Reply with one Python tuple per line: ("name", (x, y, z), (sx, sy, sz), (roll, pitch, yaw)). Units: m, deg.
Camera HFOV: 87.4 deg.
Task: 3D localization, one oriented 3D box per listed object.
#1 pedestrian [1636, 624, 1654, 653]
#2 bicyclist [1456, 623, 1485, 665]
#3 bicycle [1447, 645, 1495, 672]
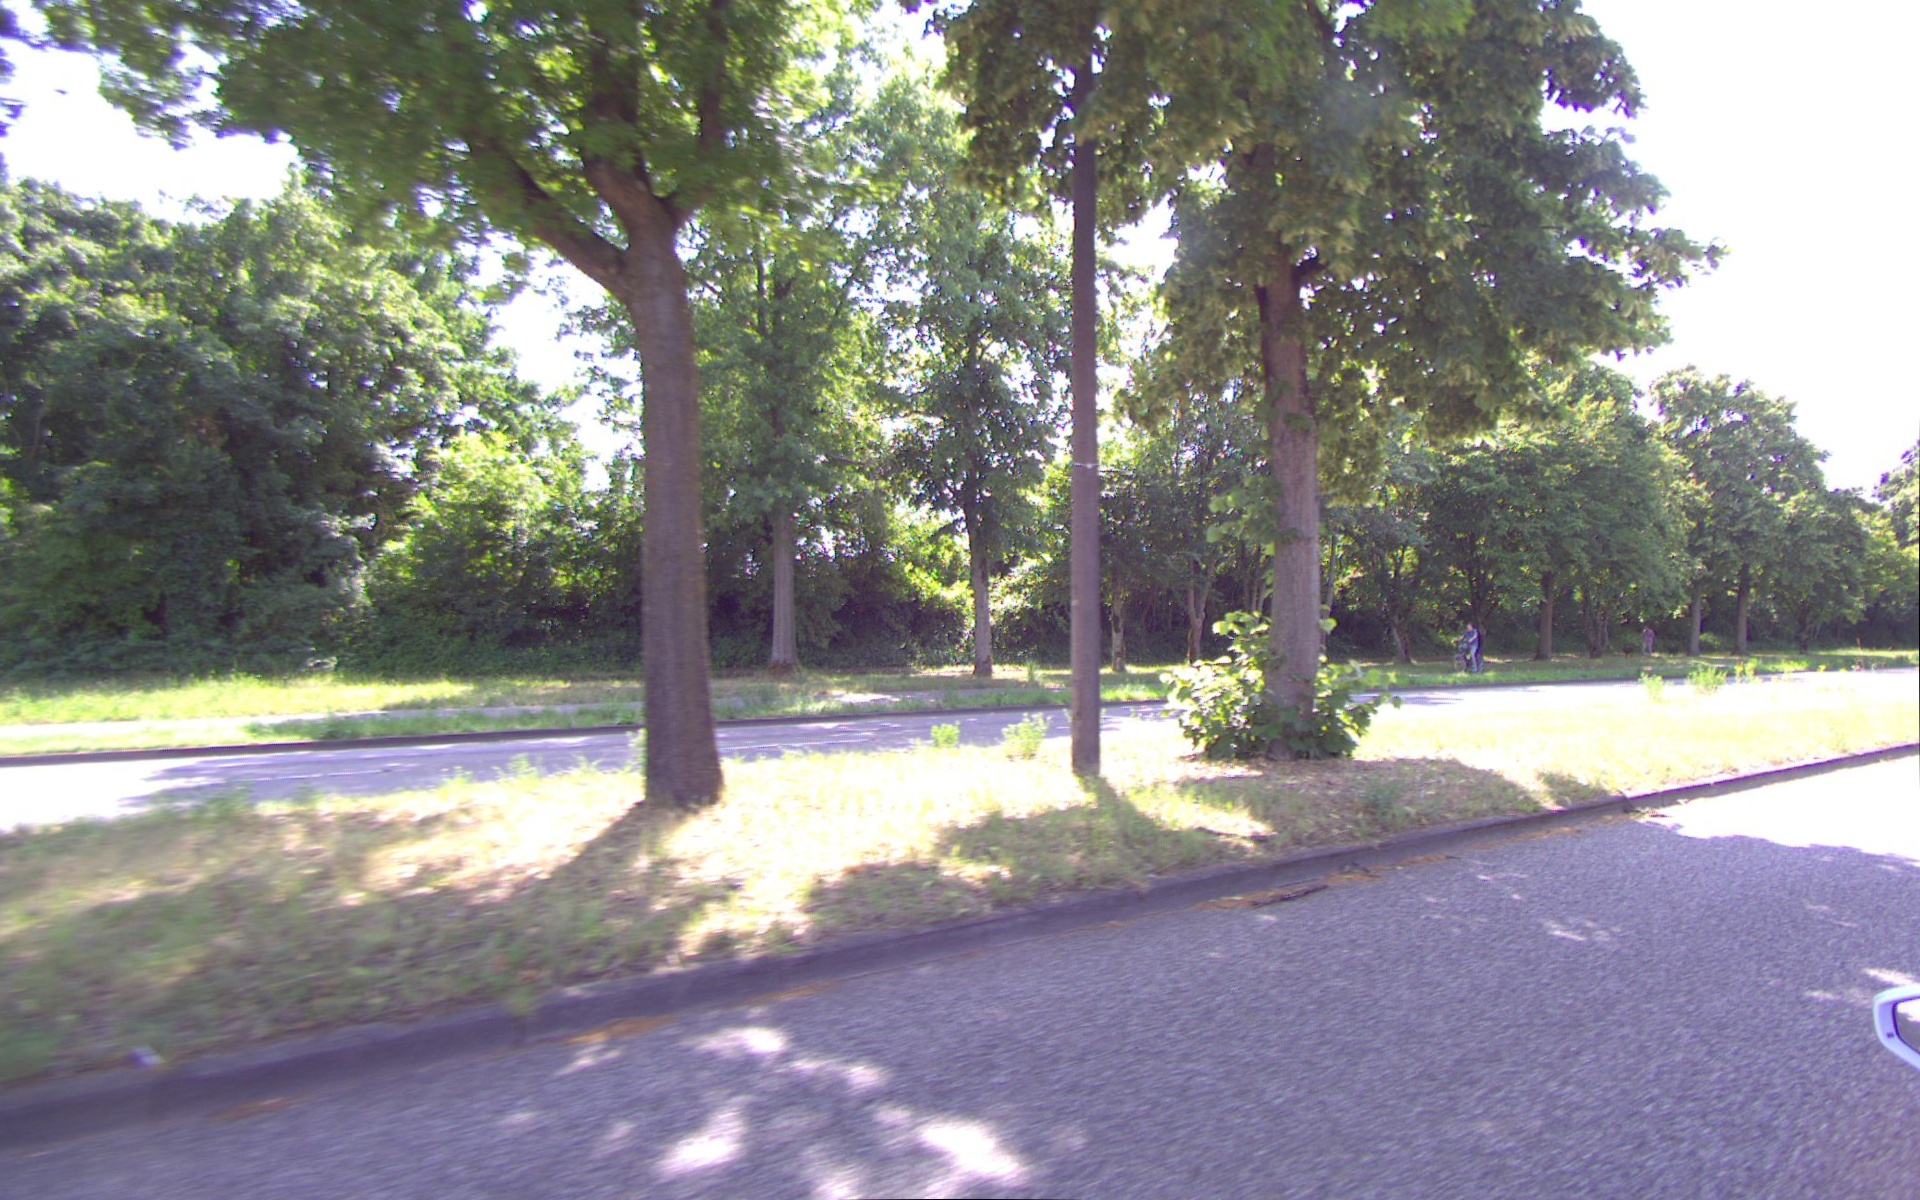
("pedestrian", (38.885, 2.183, 57.006), (0.649, 1.652, 0.640), (1, 0, -32))
("bicyclist", (18.183, 1.550, 35.773), (0.721, 1.467, 0.615), (1, -1, -30))
("bicycle", (18.190, 2.076, 35.767), (1.892, 0.890, 0.615), (1, -1, -31))
